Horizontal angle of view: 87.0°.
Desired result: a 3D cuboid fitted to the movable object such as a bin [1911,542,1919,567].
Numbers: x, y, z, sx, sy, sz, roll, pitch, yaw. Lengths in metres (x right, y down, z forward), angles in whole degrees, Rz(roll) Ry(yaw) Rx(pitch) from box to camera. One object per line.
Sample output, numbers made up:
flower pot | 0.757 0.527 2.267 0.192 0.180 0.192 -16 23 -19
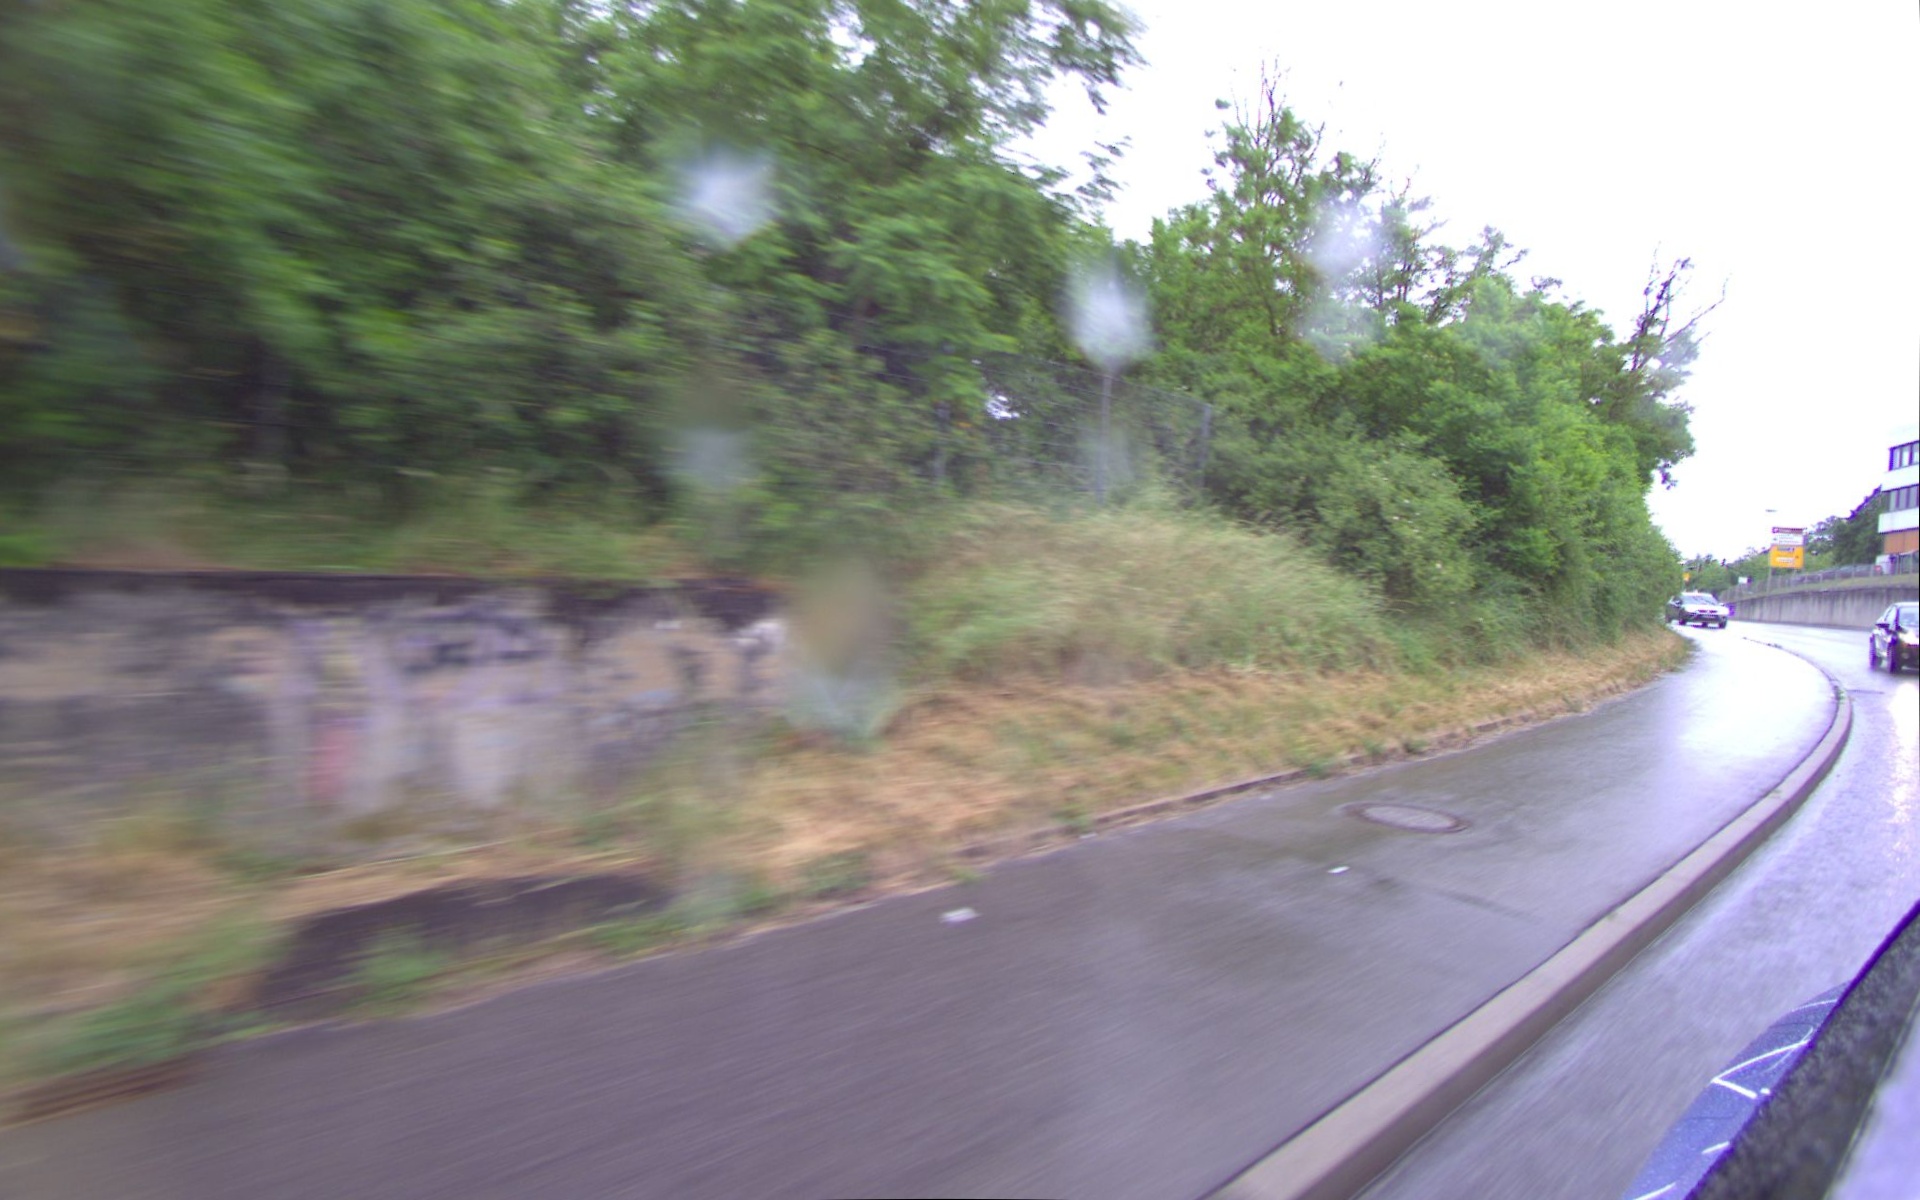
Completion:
movable object such as a bin | 53.690 -2.505 55.951 1.232 1.363 1.208 4 2 24

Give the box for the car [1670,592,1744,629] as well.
car | 34.493 0.456 46.874 1.857 1.458 4.339 6 3 26

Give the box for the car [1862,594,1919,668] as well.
car | 20.745 0.624 21.450 1.862 1.459 4.323 -1 -1 34

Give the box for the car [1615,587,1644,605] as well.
car | 62.305 -0.376 94.274 1.723 1.478 3.688 4 3 26
